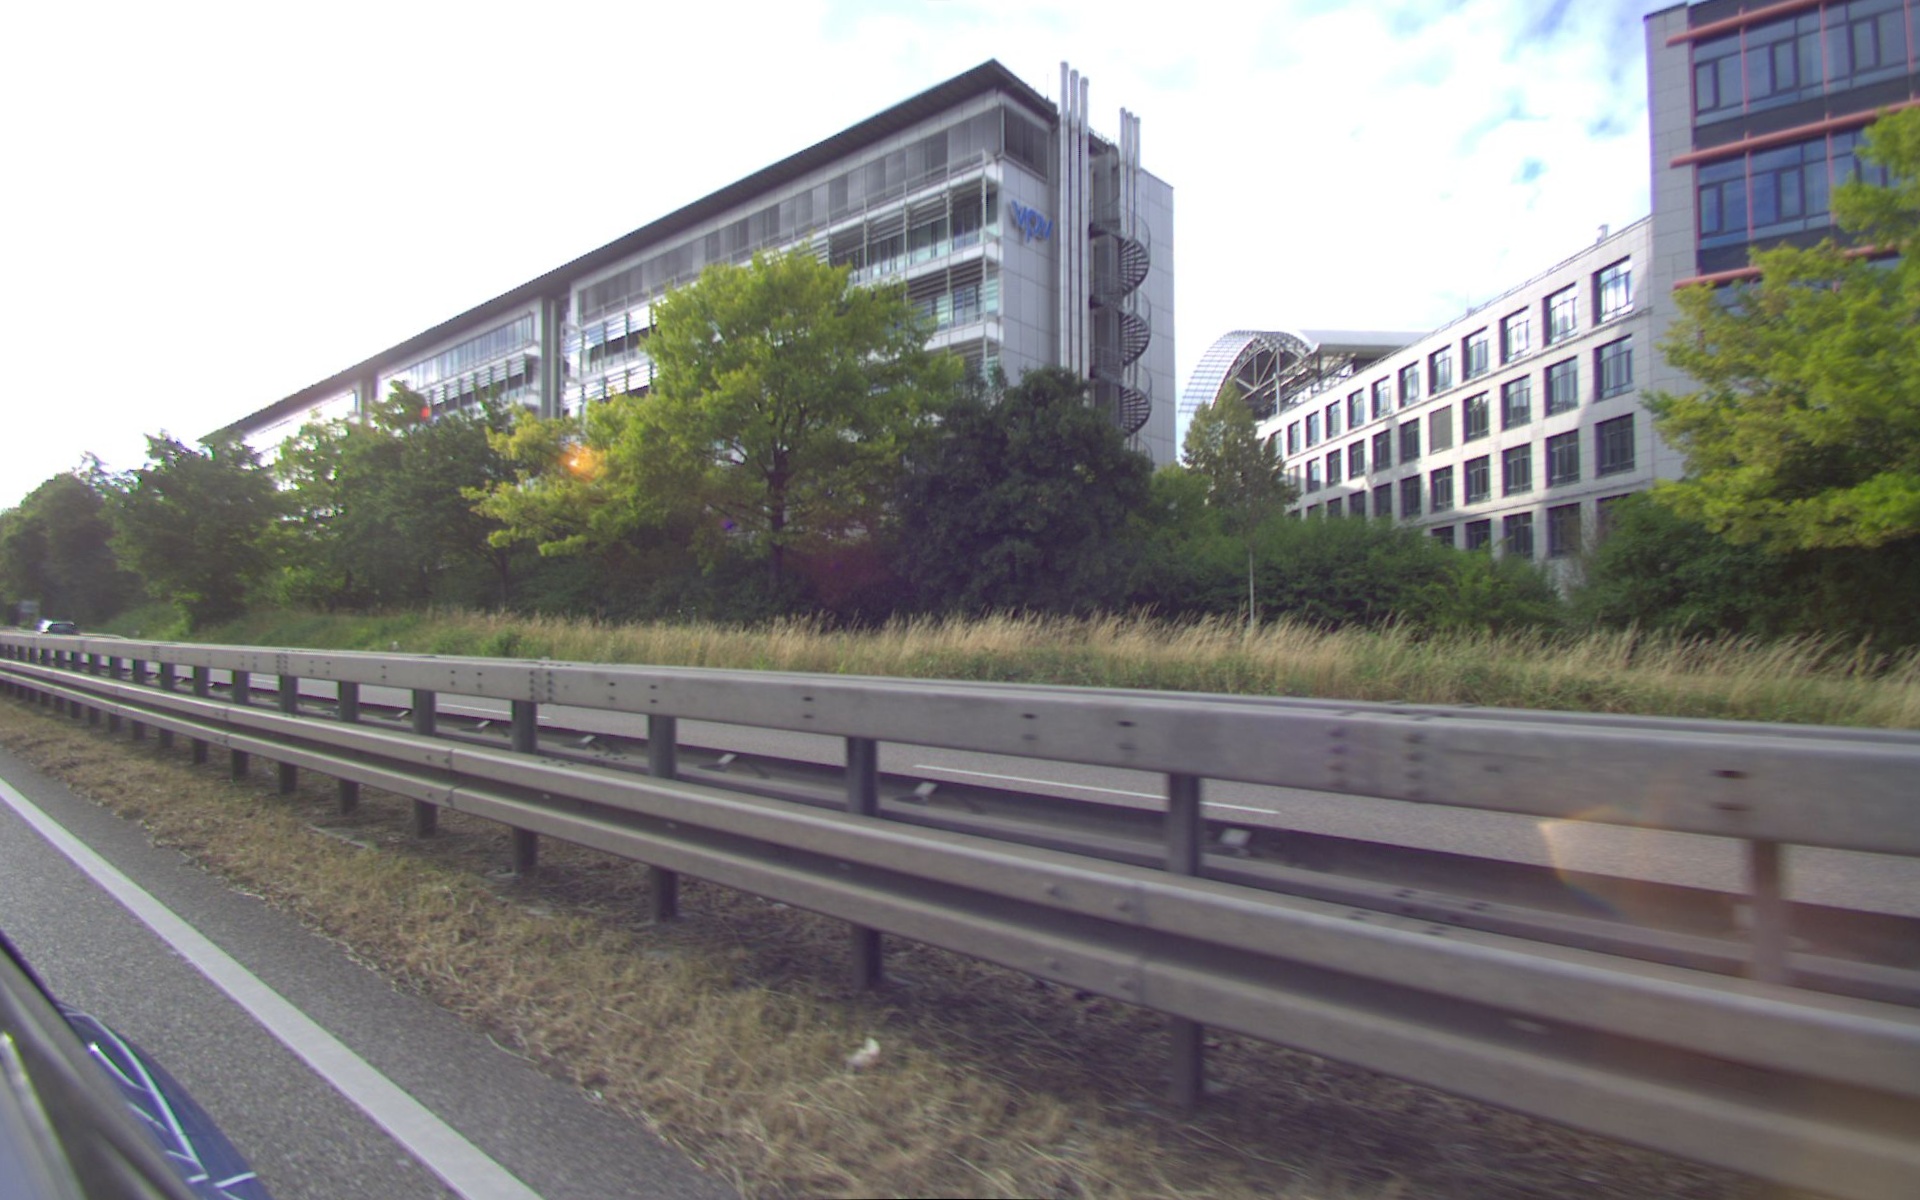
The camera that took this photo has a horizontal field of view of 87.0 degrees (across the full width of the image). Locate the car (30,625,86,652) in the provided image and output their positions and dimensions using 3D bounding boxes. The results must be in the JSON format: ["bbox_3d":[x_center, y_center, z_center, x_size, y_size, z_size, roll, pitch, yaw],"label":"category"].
[{"bbox_3d":[-49.764,2.092,55.784,4.564,1.433,1.738,-1,-3,41],"label":"car"}]
